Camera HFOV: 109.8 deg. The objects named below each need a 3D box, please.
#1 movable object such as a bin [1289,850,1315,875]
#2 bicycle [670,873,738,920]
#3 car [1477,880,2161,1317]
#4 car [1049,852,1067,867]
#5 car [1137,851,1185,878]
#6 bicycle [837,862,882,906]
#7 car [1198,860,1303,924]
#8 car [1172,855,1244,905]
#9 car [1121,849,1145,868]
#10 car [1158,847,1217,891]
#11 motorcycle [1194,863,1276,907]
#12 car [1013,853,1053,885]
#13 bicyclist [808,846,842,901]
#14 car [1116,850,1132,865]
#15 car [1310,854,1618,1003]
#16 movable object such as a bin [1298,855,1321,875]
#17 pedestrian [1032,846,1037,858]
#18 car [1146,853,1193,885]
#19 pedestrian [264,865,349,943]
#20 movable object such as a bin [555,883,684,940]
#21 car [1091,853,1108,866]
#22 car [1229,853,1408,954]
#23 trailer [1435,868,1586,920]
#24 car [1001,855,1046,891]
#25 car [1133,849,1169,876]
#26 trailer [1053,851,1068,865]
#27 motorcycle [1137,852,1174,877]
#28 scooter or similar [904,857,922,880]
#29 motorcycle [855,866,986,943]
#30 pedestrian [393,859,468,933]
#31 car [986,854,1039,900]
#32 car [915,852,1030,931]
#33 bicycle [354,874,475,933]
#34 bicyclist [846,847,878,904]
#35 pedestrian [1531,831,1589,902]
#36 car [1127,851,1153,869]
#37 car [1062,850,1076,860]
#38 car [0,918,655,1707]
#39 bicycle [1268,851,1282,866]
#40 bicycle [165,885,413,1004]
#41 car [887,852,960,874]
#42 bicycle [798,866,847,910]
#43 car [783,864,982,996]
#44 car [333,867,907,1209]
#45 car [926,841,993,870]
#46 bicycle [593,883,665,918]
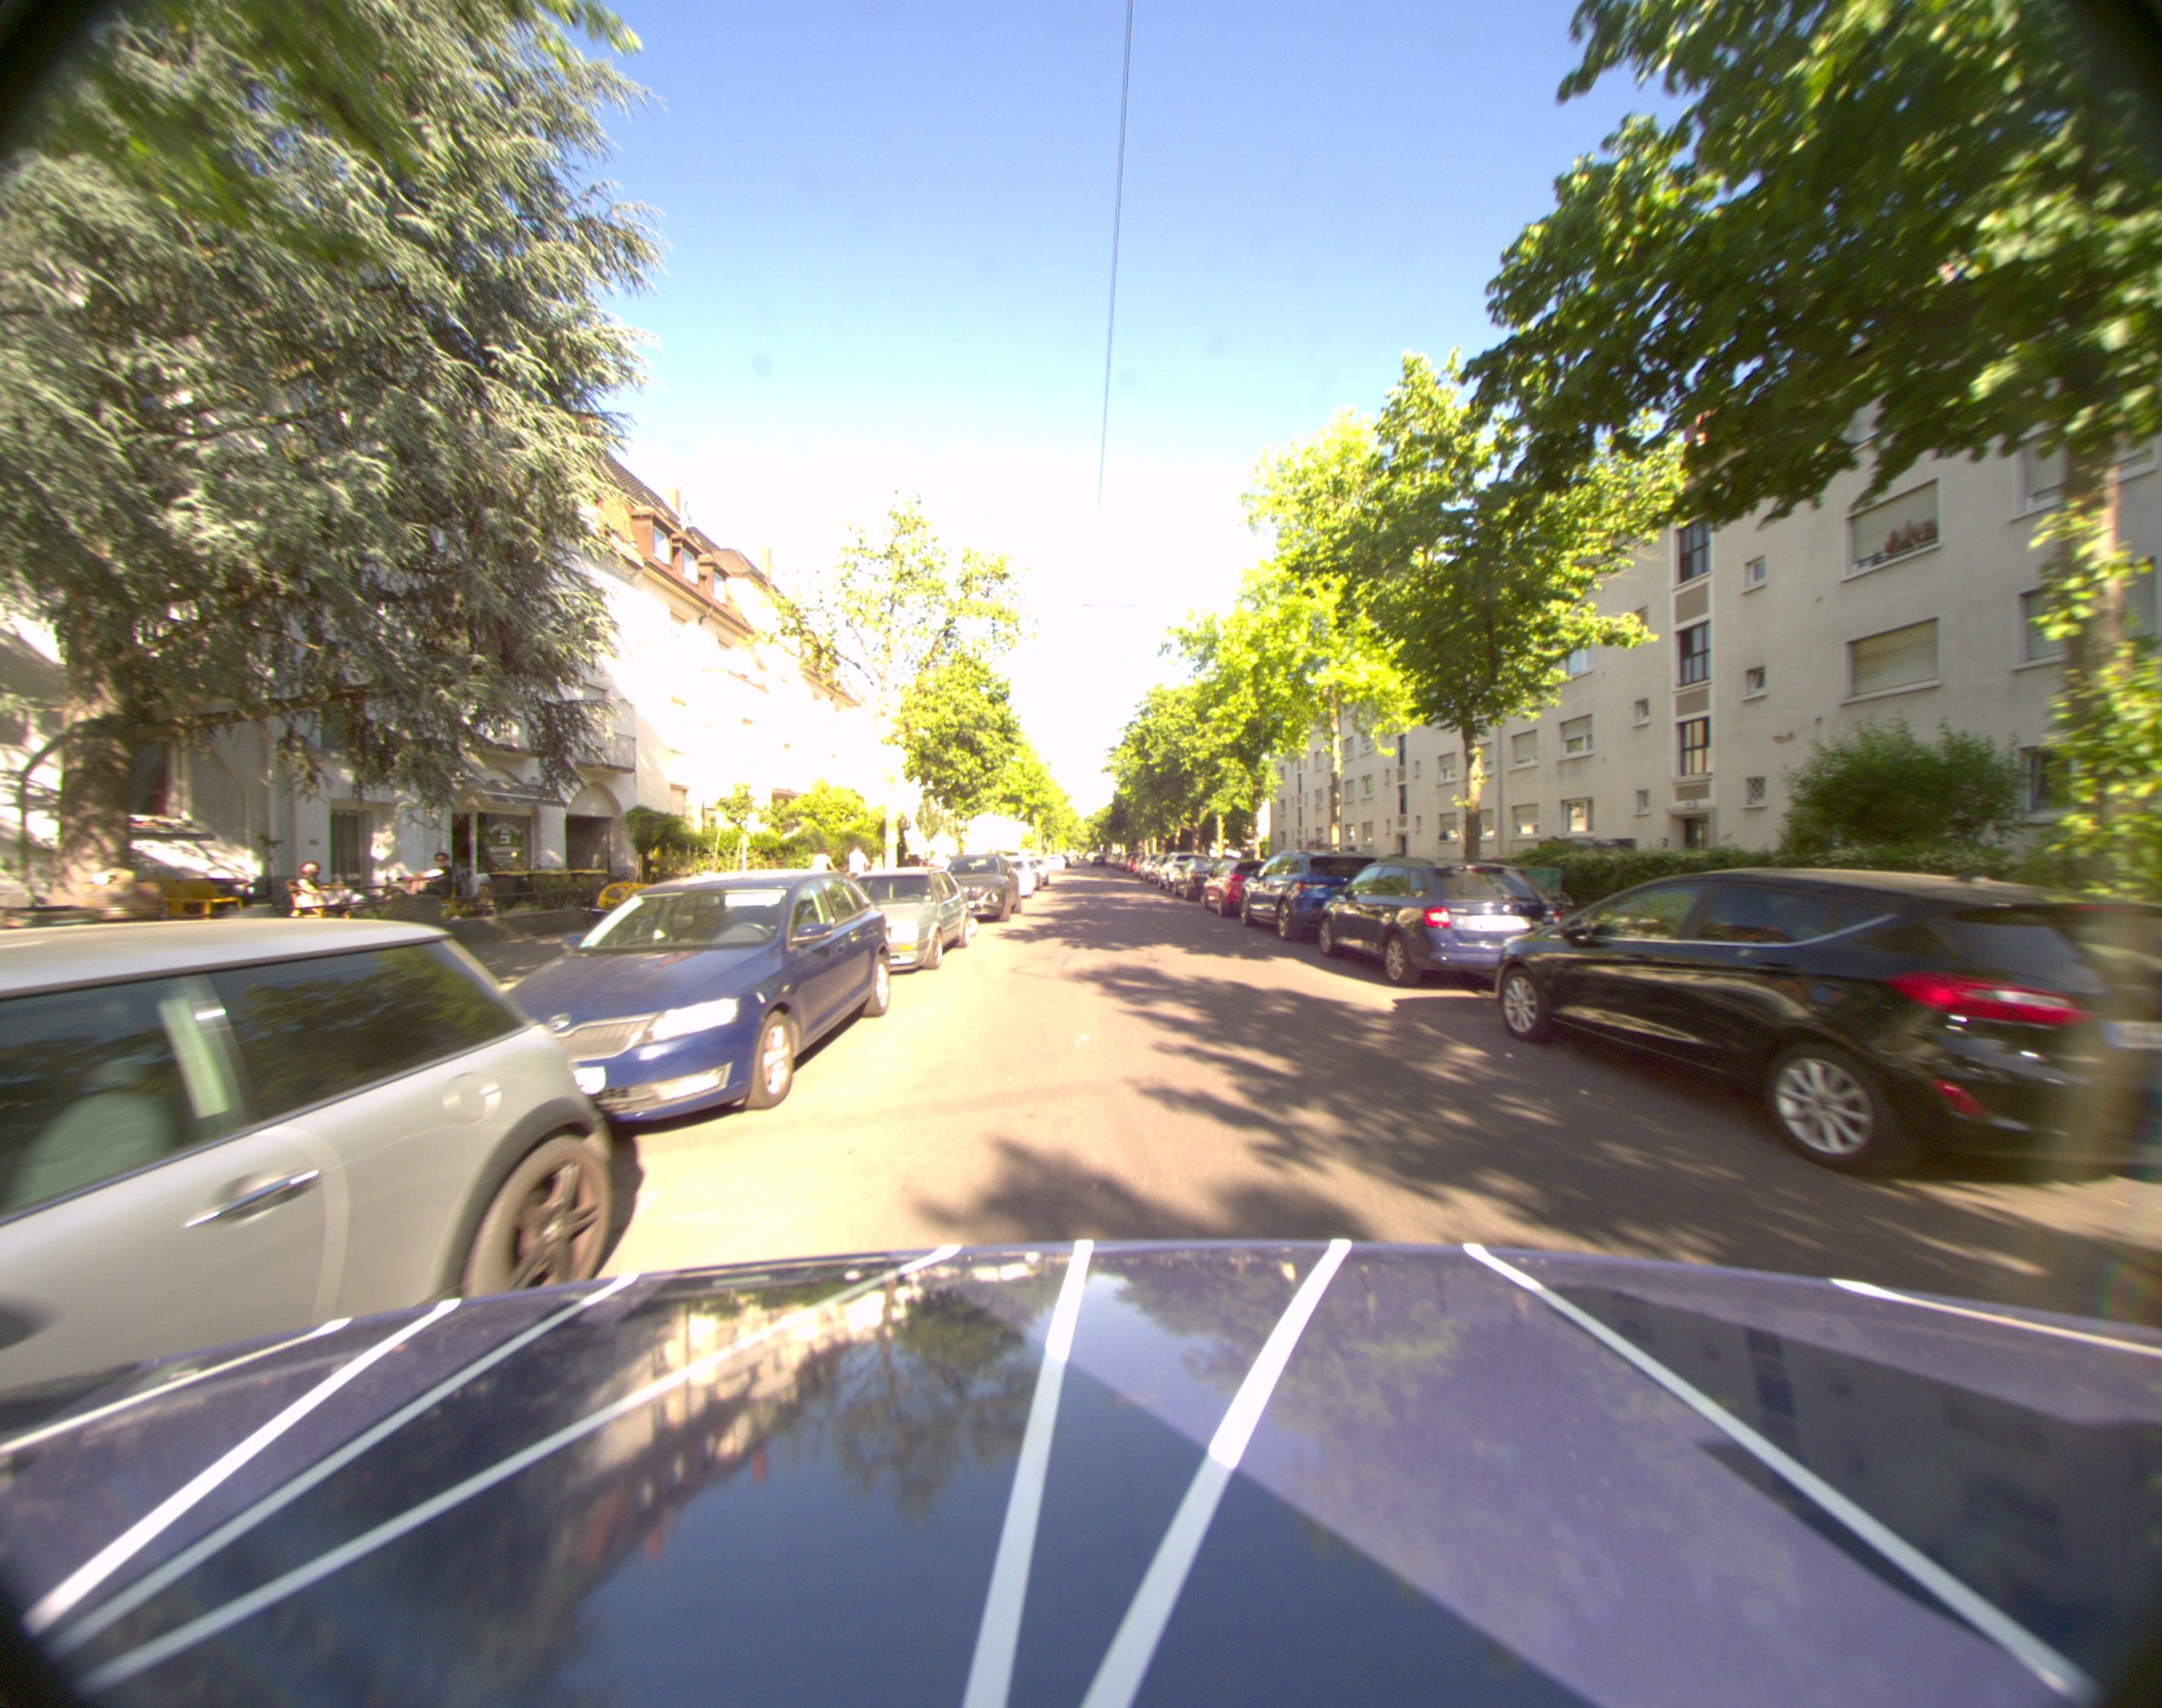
[{"bbox_3d":[12.255,0.461,42.158,0.932,1.316,1.378,0,1,-5],"label":"movable object such as a bin"},{"bbox_3d":[-8.767,0.957,17.756,0.582,0.969,1.903,0,1,2],"label":"bicycle"},{"bbox_3d":[4.425,0.992,4.765,1.766,1.435,3.908,1,1,-1],"label":"car"},{"bbox_3d":[-2.267,0.528,75.070,1.737,1.478,4.008,-1,0,-2],"label":"car"},{"bbox_3d":[4.525,0.562,43.890,2.070,1.515,4.720,0,0,-3],"label":"car"},{"bbox_3d":[-6.225,0.814,21.462,0.685,1.147,2.402,0,1,-3],"label":"bicycle"},{"bbox_3d":[4.272,0.895,19.770,1.784,1.371,4.262,2,1,1],"label":"car"},{"bbox_3d":[4.368,0.832,26.804,1.732,1.469,4.618,3,1,0],"label":"car"},{"bbox_3d":[4.710,0.346,69.446,1.772,1.678,4.813,0,0,-1],"label":"car"},{"bbox_3d":[4.358,0.555,31.711,1.733,1.609,4.365,-3,1,-1],"label":"car"},{"bbox_3d":[4.692,0.952,23.178,2.293,1.263,0.807,1,1,-10],"label":"motorcycle"},{"bbox_3d":[-2.426,0.710,39.360,1.826,1.461,4.908,-2,0,-1],"label":"car"},{"bbox_3d":[-7.428,0.554,22.055,0.678,1.544,1.021,0,1,-3],"label":"bicyclist"},{"bbox_3d":[4.805,0.377,85.326,1.710,1.568,4.481,0,0,1],"label":"car"},{"bbox_3d":[4.494,0.758,9.745,1.834,1.444,4.121,1,1,0],"label":"car"},{"bbox_3d":[12.363,0.585,41.110,0.932,1.086,0.754,0,1,-5],"label":"movable object such as a bin"},{"bbox_3d":[-7.974,-0.353,130.097,0.907,2.002,1.006,0,1,1],"label":"pedestrian"},{"bbox_3d":[4.452,0.717,38.947,1.732,1.438,4.820,2,0,-1],"label":"car"},{"bbox_3d":[-12.038,0.760,11.824,0.511,1.136,0.755,-1,1,-2],"label":"pedestrian"},{"bbox_3d":[-8.609,1.045,14.251,1.222,0.899,1.667,0,0,21],"label":"movable object such as a bin"},{"bbox_3d":[2.247,0.695,92.568,1.814,1.437,4.365,1,1,-1],"label":"car"},{"bbox_3d":[4.332,0.814,14.672,1.794,1.557,4.463,2,1,-3],"label":"car"},{"bbox_3d":[9.986,0.882,17.955,1.793,1.028,3.281,0,1,2],"label":"trailer"},{"bbox_3d":[-2.517,0.801,34.372,1.715,1.402,4.860,-2,0,-1],"label":"car"},{"bbox_3d":[4.708,0.536,51.587,2.048,1.515,4.605,-2,2,1],"label":"car"},{"bbox_3d":[-2.395,0.504,89.998,1.578,1.569,3.192,-3,0,2],"label":"trailer"},{"bbox_3d":[4.690,0.634,47.868,0.991,1.495,2.227,0,1,-40],"label":"motorcycle"},{"bbox_3d":[-8.455,0.718,38.268,0.402,1.178,1.207,0,0,15],"label":"scooter or similar"},{"bbox_3d":[-3.053,0.950,14.590,2.358,1.414,0.687,0,1,-1],"label":"motorcycle"},{"bbox_3d":[-10.467,0.659,12.254,0.511,1.136,0.756,-1,1,2],"label":"pedestrian"},{"bbox_3d":[-2.520,0.813,28.646,1.658,1.523,3.968,-3,1,-1],"label":"car"},{"bbox_3d":[-2.530,0.815,19.064,1.930,1.642,5.095,-2,0,2],"label":"car"},{"bbox_3d":[-12.945,0.946,14.782,1.901,1.094,0.583,0,1,3],"label":"bicycle"},{"bbox_3d":[-6.231,0.602,21.678,0.679,1.600,0.921,0,1,-3],"label":"bicyclist"},{"bbox_3d":[12.960,0.323,20.603,0.935,1.877,1.026,0,1,4],"label":"pedestrian"},{"bbox_3d":[4.844,0.484,63.188,1.861,1.461,4.182,0,0,0],"label":"car"},{"bbox_3d":[-1.833,0.179,114.909,1.786,1.509,4.685,-1,0,-4],"label":"car"},{"bbox_3d":[-2.675,1.023,1.243,1.793,1.444,3.781,-1,1,0],"label":"car"},{"bbox_3d":[15.545,0.363,60.902,0.687,1.194,1.912,0,1,2],"label":"bicycle"},{"bbox_3d":[-9.033,0.972,8.832,0.806,1.109,1.999,-1,1,-3],"label":"bicycle"},{"bbox_3d":[-11.243,0.623,54.275,4.724,1.461,1.955,0,1,15],"label":"car"},{"bbox_3d":[-7.419,0.943,21.913,0.685,1.147,2.402,0,1,-3],"label":"bicycle"},{"bbox_3d":[-2.722,0.966,11.550,1.755,1.446,4.461,-3,0,0],"label":"car"},{"bbox_3d":[-2.742,0.935,5.909,1.697,1.531,4.441,-1,0,0],"label":"car"},{"bbox_3d":[-9.924,0.124,62.079,5.063,2.292,2.230,0,1,-23],"label":"car"},{"bbox_3d":[-10.153,1.045,17.083,1.365,0.752,0.471,0,1,3],"label":"bicycle"}]
